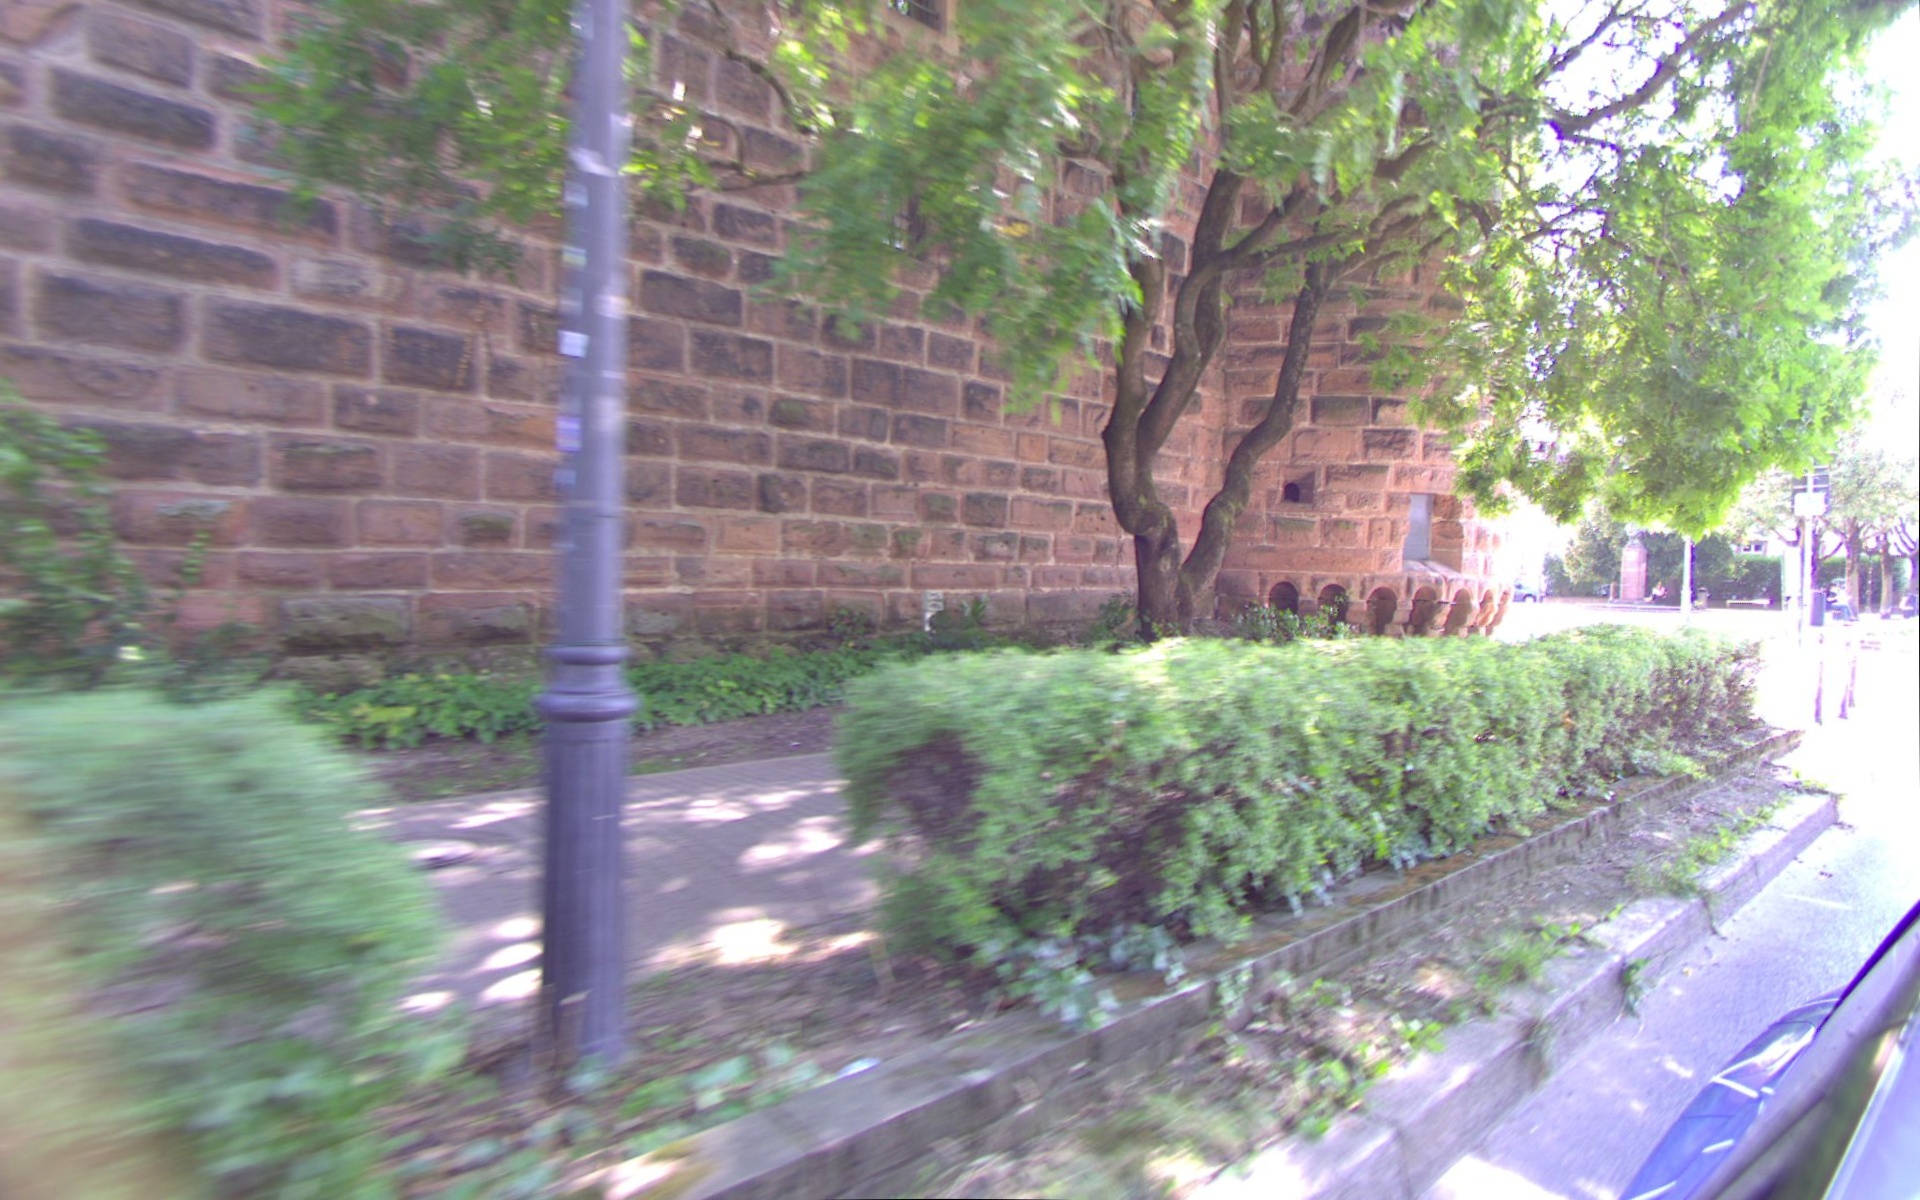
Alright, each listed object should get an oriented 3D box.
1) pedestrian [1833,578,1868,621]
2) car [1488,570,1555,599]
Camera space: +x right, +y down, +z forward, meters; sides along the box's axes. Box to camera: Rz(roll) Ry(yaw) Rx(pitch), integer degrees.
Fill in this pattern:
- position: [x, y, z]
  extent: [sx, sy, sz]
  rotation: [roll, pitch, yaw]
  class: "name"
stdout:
- position: [25.214, -0.027, 28.639]
  extent: [0.733, 1.208, 0.632]
  rotation: [0, 0, -39]
  class: "pedestrian"
- position: [35.091, -0.969, 63.316]
  extent: [1.723, 1.600, 3.234]
  rotation: [0, 4, -42]
  class: "car"
